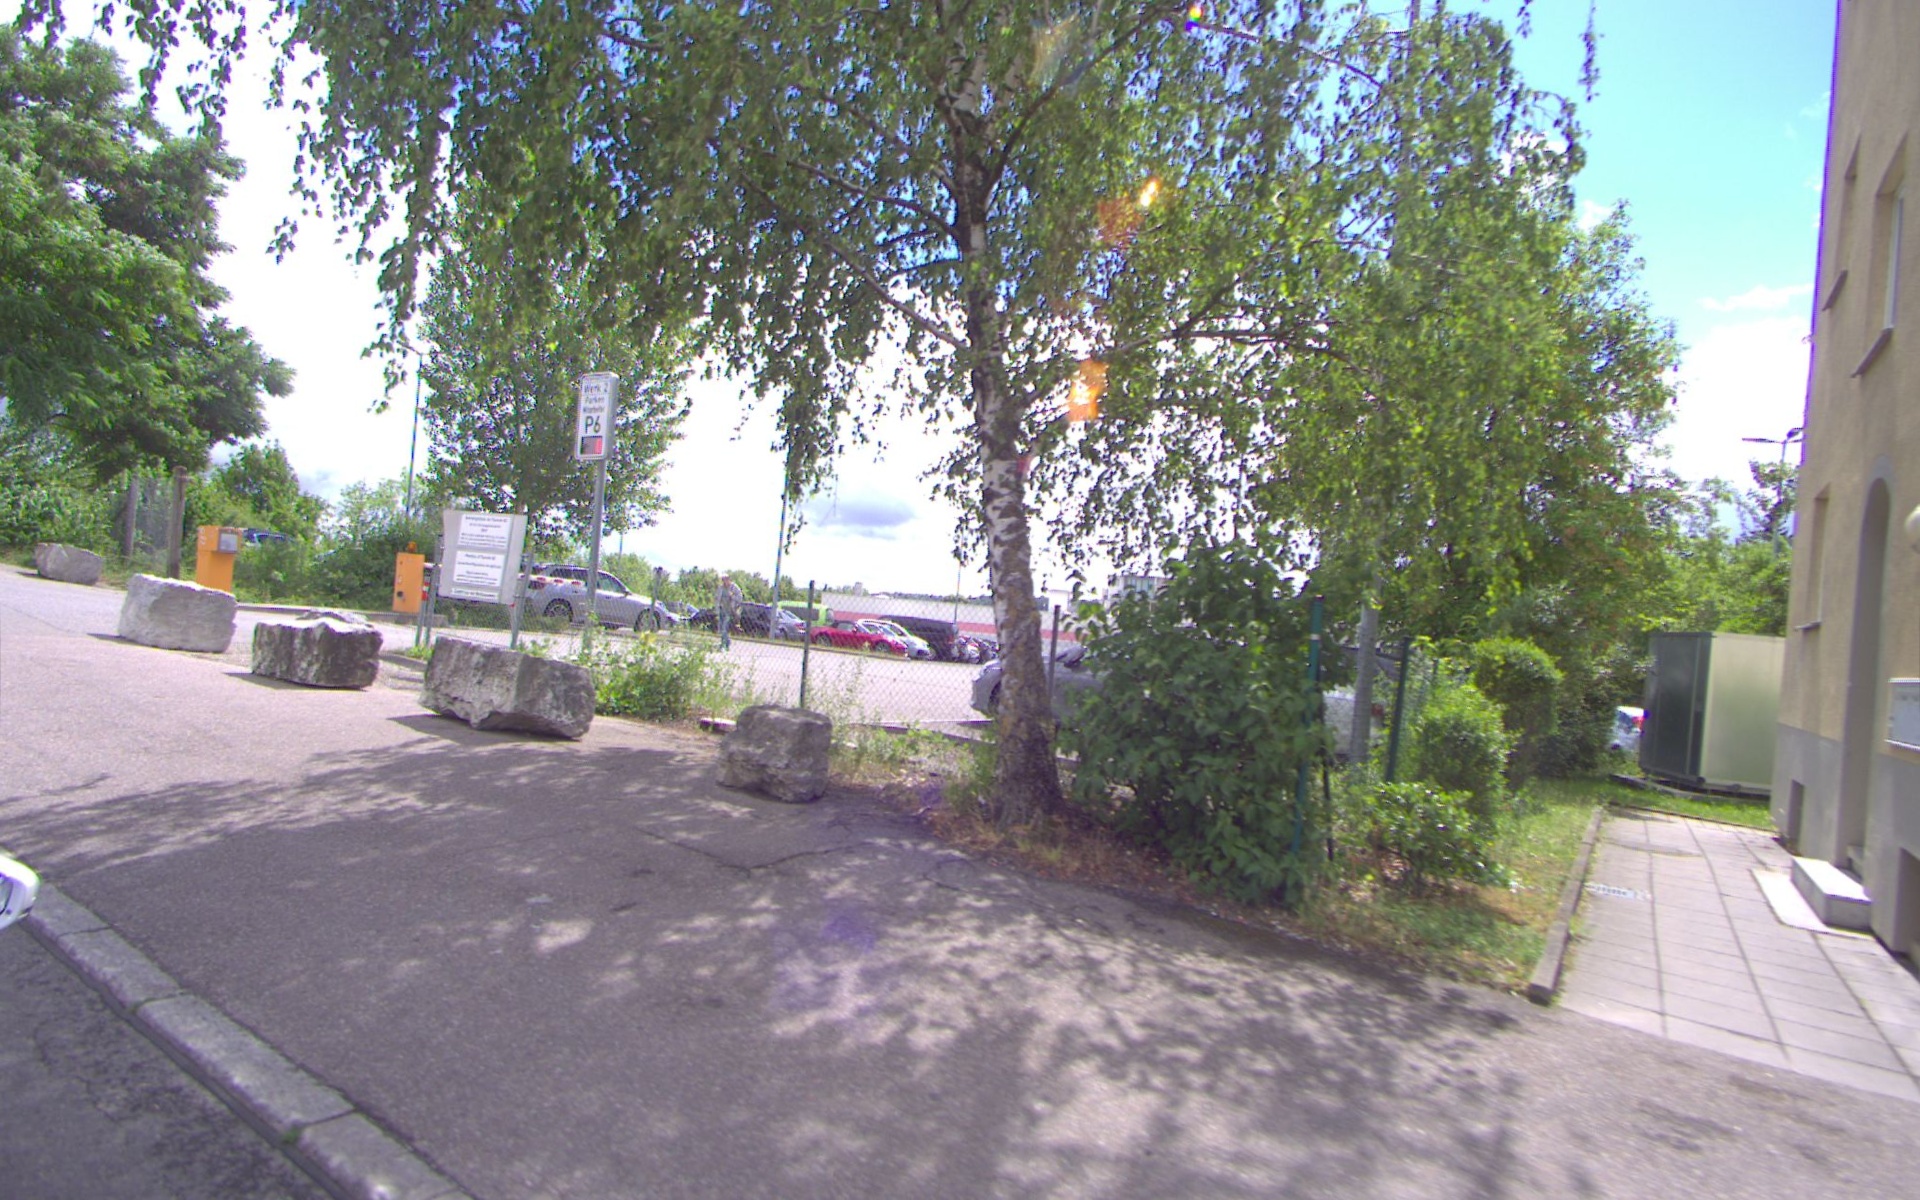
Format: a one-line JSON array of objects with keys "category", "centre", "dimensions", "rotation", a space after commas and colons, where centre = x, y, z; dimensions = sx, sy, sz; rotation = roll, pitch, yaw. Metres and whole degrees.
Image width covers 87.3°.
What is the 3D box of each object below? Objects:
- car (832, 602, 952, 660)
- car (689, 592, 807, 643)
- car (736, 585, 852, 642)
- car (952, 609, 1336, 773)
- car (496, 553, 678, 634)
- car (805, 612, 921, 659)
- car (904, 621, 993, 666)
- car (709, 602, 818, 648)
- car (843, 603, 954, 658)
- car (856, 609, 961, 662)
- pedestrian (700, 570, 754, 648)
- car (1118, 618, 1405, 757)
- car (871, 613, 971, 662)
[{"category": "car", "centre": [-2.692, 1.266, 40.532], "dimensions": [4.359, 1.782, 2.004], "rotation": [6, -4, 8]}, {"category": "car", "centre": [-8.107, 0.679, 38.572], "dimensions": [3.923, 1.405, 1.725], "rotation": [6, -4, 12]}, {"category": "car", "centre": [-7.281, 0.625, 44.387], "dimensions": [4.559, 1.895, 1.725], "rotation": [6, -3, 6]}, {"category": "car", "centre": [2.139, 1.039, 12.011], "dimensions": [4.075, 1.405, 1.720], "rotation": [4, -4, 32]}, {"category": "car", "centre": [-9.555, -0.132, 26.013], "dimensions": [1.750, 1.502, 3.991], "rotation": [4, -5, 37]}, {"category": "car", "centre": [-3.599, 1.325, 37.411], "dimensions": [3.923, 1.276, 1.507], "rotation": [6, -4, 12]}, {"category": "car", "centre": [-0.581, 2.336, 53.534], "dimensions": [4.359, 1.805, 2.004], "rotation": [6, -4, 8]}, {"category": "car", "centre": [-8.075, 1.040, 41.414], "dimensions": [3.923, 1.405, 1.725], "rotation": [6, -4, 12]}, {"category": "car", "centre": [-2.621, 1.360, 43.769], "dimensions": [4.359, 1.805, 2.004], "rotation": [6, -4, 8]}, {"category": "car", "centre": [-2.317, 1.640, 46.024], "dimensions": [4.359, 1.805, 2.004], "rotation": [6, -4, 8]}, {"category": "pedestrian", "centre": [-5.498, 0.230, 23.792], "dimensions": [0.864, 1.715, 0.816], "rotation": [6, -3, 3]}, {"category": "car", "centre": [5.016, 1.397, 16.801], "dimensions": [4.206, 1.643, 1.874], "rotation": [6, -1, 27]}, {"category": "car", "centre": [-1.850, 1.821, 48.665], "dimensions": [4.359, 1.805, 2.004], "rotation": [6, -4, 8]}]
